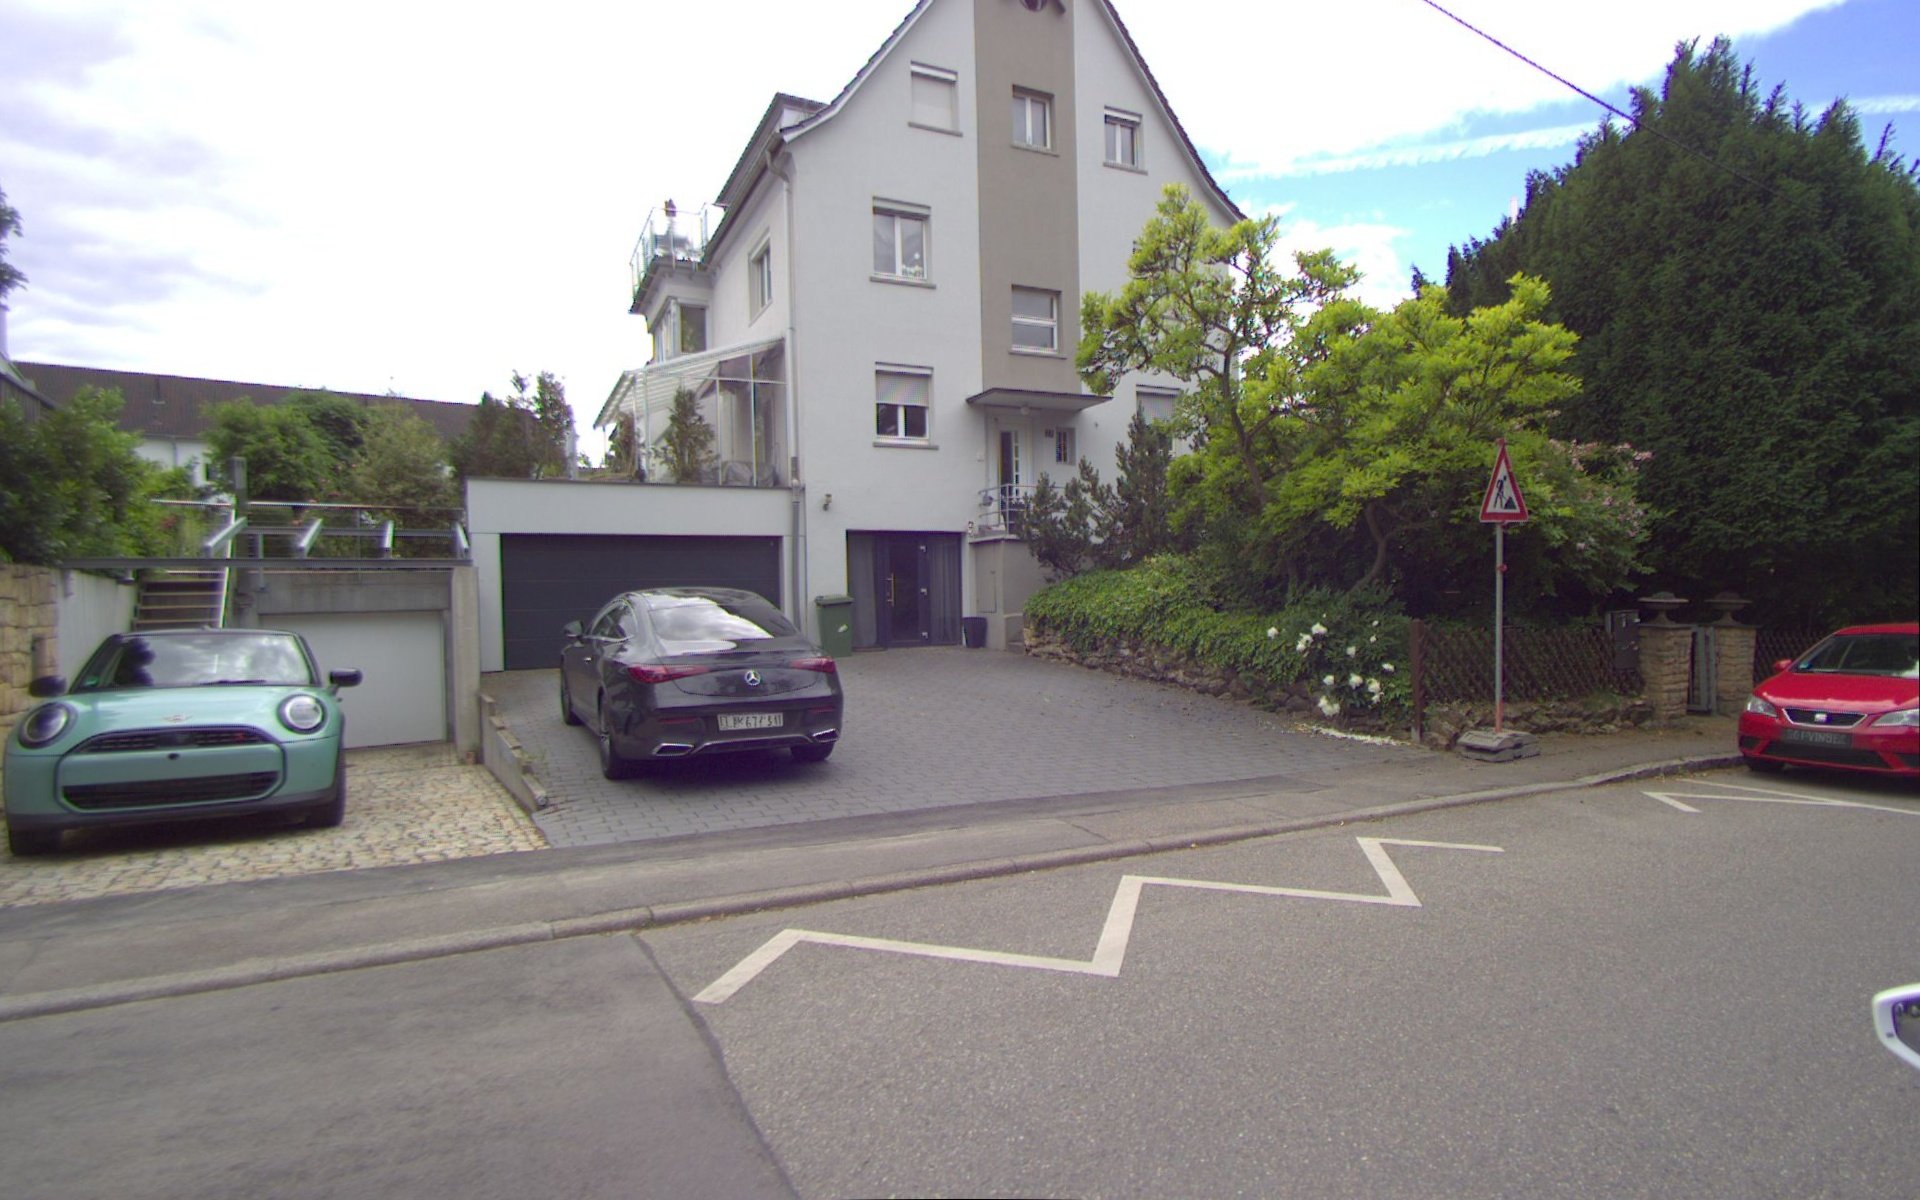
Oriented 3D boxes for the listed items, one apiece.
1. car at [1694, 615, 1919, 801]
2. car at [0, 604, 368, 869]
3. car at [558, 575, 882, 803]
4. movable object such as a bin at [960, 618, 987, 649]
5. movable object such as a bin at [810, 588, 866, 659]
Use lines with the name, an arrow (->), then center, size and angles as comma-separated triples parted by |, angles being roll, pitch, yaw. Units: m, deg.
car -> 8.948, 0.890, 9.584 | 3.741, 1.458, 1.729 | 1, 0, -29
car -> -5.489, 0.891, 7.496 | 1.801, 1.404, 3.937 | 0, -4, -30
car -> -2.439, 0.538, 9.090 | 1.866, 1.405, 4.588 | 0, 3, -27
movable object such as a bin -> 0.253, 0.610, 18.420 | 0.394, 0.546, 0.312 | 1, 0, -29
movable object such as a bin -> -2.111, 0.405, 17.317 | 0.759, 1.202, 0.721 | 0, -1, -29
